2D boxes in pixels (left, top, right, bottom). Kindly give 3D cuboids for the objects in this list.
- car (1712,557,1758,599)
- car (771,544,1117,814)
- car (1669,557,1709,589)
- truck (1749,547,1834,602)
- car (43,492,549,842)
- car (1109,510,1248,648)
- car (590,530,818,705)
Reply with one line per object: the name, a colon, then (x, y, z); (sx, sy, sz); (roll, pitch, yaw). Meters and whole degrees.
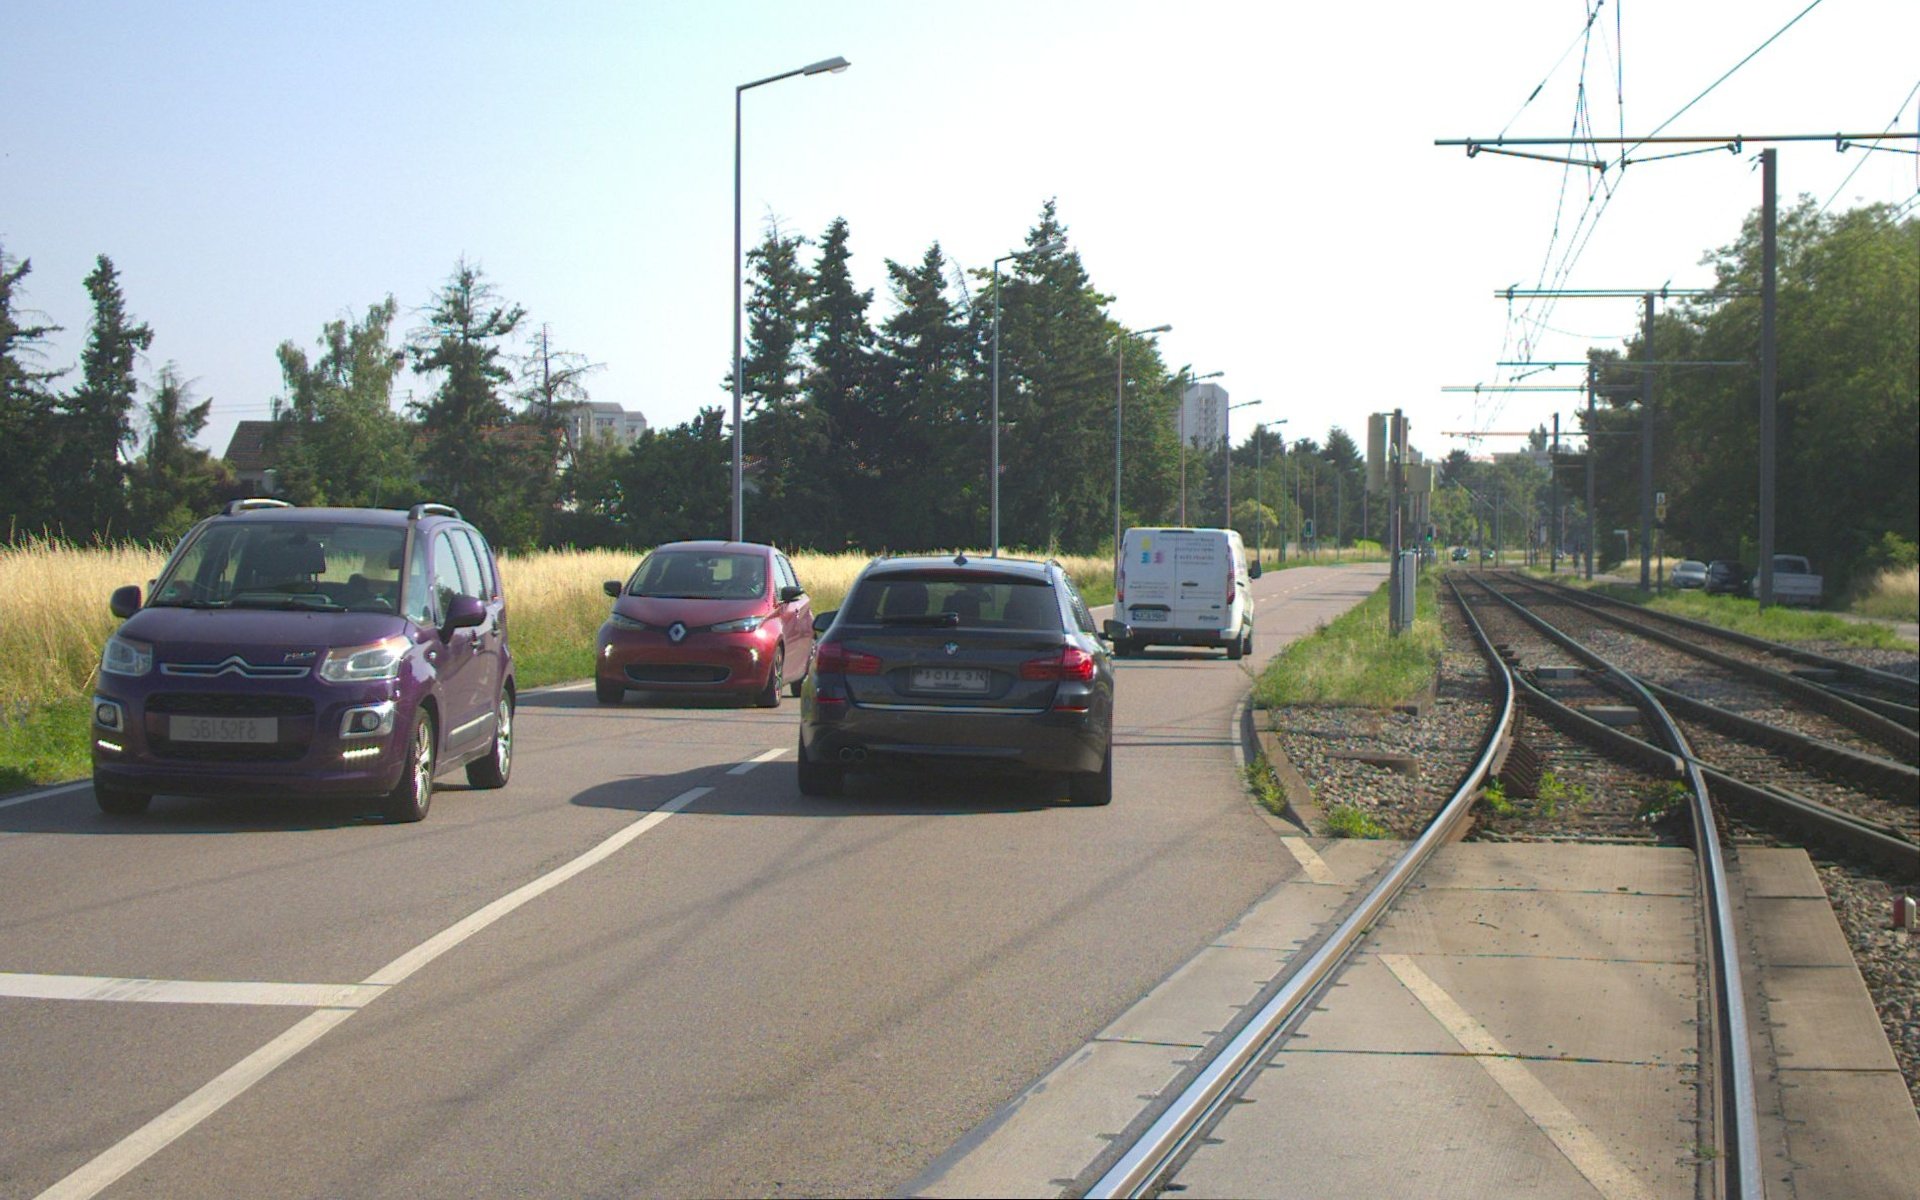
car: (33.350, -0.926, 148.026); (1.736, 1.674, 3.542); (3, 0, 10)
car: (0.014, 0.412, 21.719); (1.869, 1.447, 4.743); (2, 1, 3)
car: (35.181, -1.286, 165.936); (1.622, 1.394, 3.488); (3, 0, 8)
truck: (29.049, -0.909, 120.241); (2.205, 1.813, 5.928); (2, 1, 7)
car: (-3.525, 0.278, 19.104); (1.706, 1.659, 4.590); (2, 1, 2)
car: (3.451, -0.358, 53.587); (1.858, 1.981, 5.107); (2, 1, 6)
car: (-2.436, 0.122, 33.541); (1.713, 1.544, 3.928); (2, 1, 3)
